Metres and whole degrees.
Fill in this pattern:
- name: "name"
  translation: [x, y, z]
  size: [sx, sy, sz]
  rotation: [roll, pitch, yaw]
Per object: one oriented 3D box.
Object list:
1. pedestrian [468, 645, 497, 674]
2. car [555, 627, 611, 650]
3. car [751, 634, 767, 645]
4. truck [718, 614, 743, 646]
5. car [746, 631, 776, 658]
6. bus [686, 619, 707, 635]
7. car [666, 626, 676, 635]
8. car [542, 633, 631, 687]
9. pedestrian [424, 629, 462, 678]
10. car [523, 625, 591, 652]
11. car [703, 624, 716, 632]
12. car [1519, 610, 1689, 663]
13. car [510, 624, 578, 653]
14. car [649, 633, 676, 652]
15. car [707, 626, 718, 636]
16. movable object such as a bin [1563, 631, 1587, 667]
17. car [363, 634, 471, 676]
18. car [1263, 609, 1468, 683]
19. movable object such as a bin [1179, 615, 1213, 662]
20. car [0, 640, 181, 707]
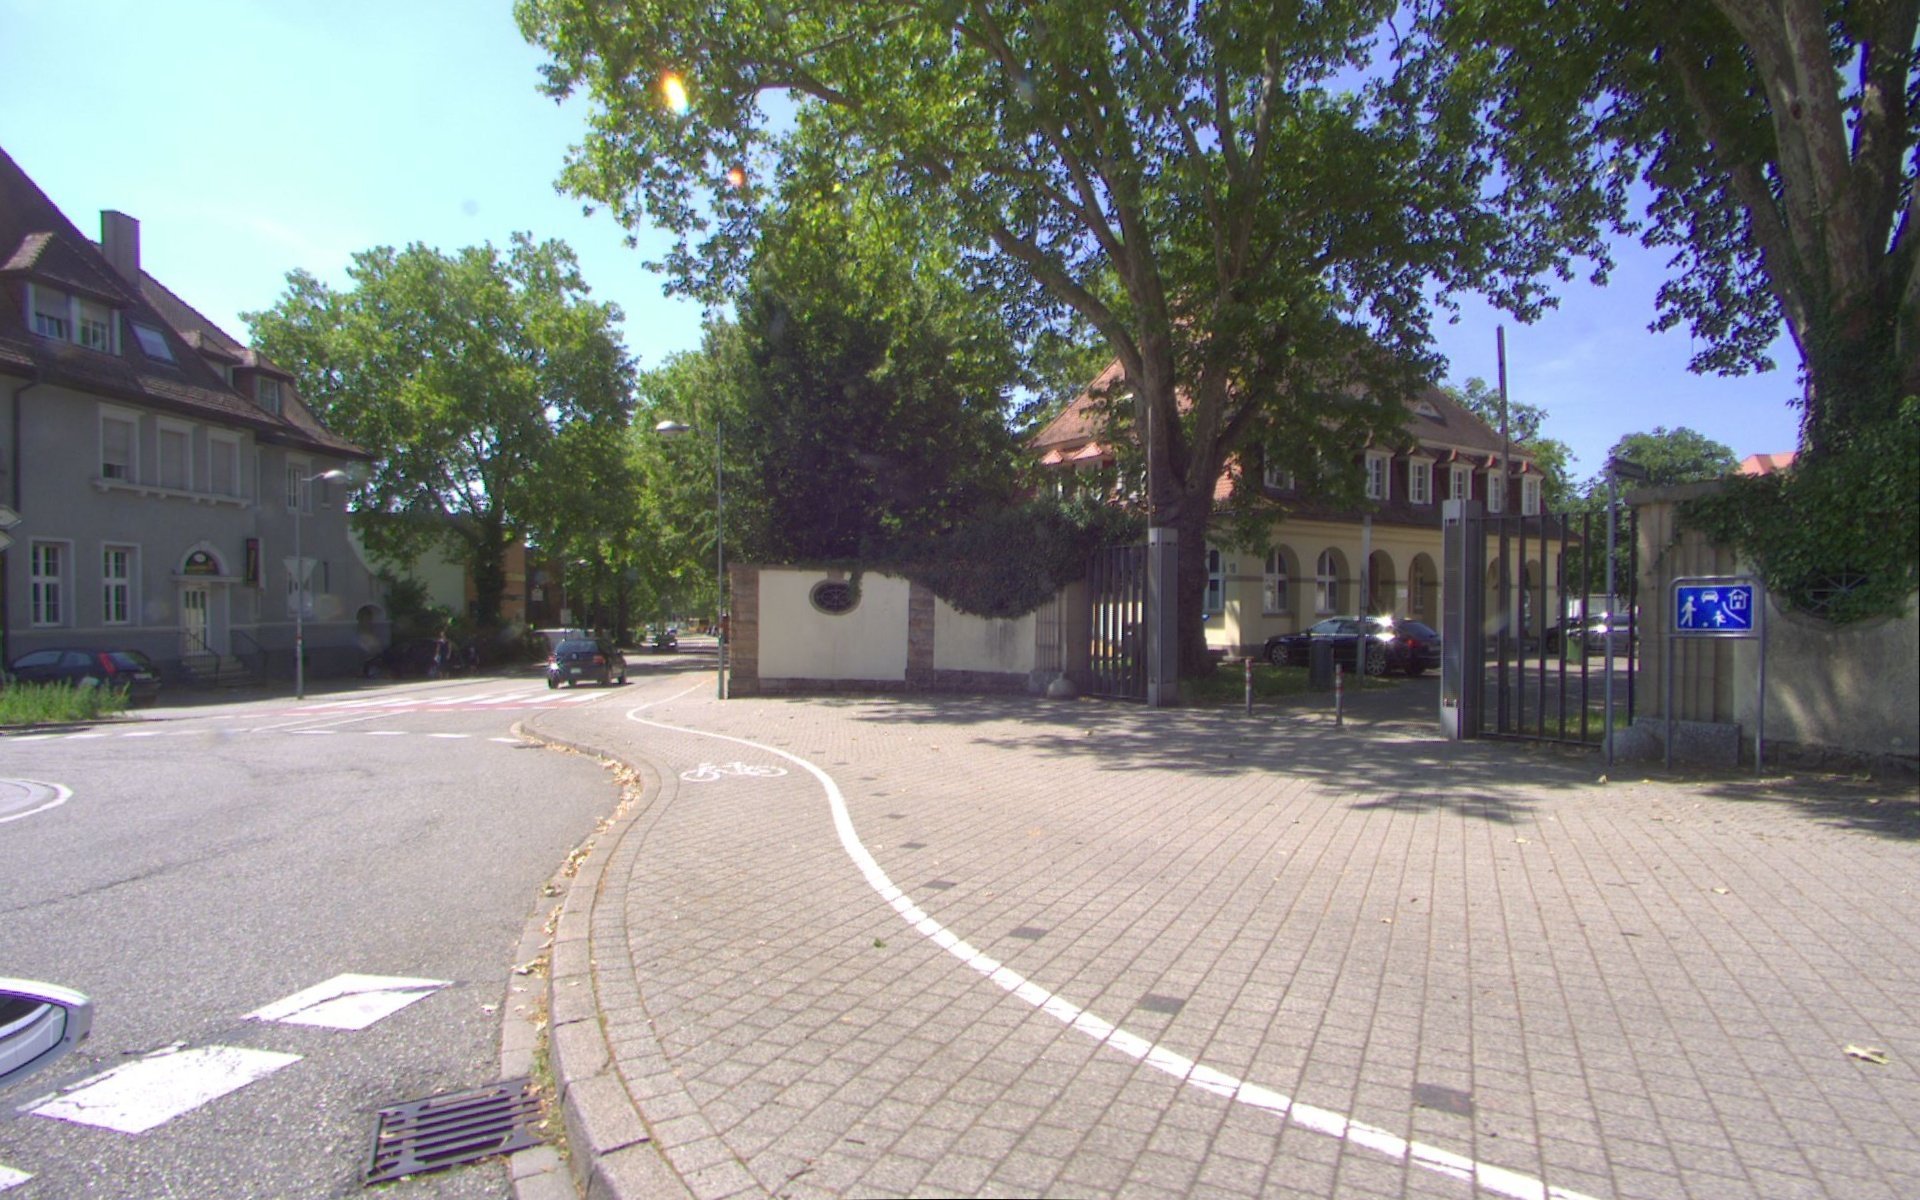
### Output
- name: "pedestrian"
  translation: [-19.170, 2.378, 40.202]
  size: [0.741, 1.136, 0.897]
  rotation: [-1, -1, -1]
- name: "car"
  translation: [-31.039, 3.190, 82.581]
  size: [4.066, 1.827, 1.902]
  rotation: [2, -2, -13]
- name: "car"
  translation: [-26.735, 5.202, 133.232]
  size: [1.740, 1.392, 3.725]
  rotation: [-1, -1, -15]
- name: "truck"
  translation: [-24.157, 3.212, 105.743]
  size: [2.333, 3.172, 5.769]
  rotation: [0, -3, -11]
- name: "car"
  translation: [-13.091, 2.891, 65.978]
  size: [1.713, 1.577, 4.777]
  rotation: [-2, -1, -9]
- name: "bus"
  translation: [-55.388, 5.662, 210.222]
  size: [2.628, 3.190, 11.166]
  rotation: [0, -2, -23]
- name: "car"
  translation: [-58.064, 6.060, 201.089]
  size: [1.965, 1.687, 3.996]
  rotation: [0, -3, -17]
- name: "car"
  translation: [-11.105, 1.753, 30.035]
  size: [1.684, 1.466, 4.057]
  rotation: [0, -1, -9]
- name: "pedestrian"
  translation: [-19.060, 1.945, 36.927]
  size: [0.858, 1.765, 1.112]
  rotation: [-1, -1, -4]
- name: "car"
  translation: [-29.907, 2.855, 74.399]
  size: [4.357, 1.827, 1.902]
  rotation: [2, -2, -13]
- name: "car"
  translation: [-46.947, 5.297, 187.841]
  size: [1.743, 1.392, 3.719]
  rotation: [-1, -1, -23]
- name: "car"
  translation: [22.089, 1.201, 34.510]
  size: [1.974, 1.422, 4.469]
  rotation: [0, 3, -34]
- name: "car"
  translation: [-28.042, 2.608, 67.671]
  size: [3.927, 1.815, 1.867]
  rotation: [2, -2, -13]
- name: "car"
  translation: [-23.561, 3.386, 79.412]
  size: [1.742, 1.444, 4.389]
  rotation: [-1, -2, -14]
- name: "car"
  translation: [-43.683, 5.535, 176.784]
  size: [1.851, 1.706, 3.997]
  rotation: [0, -3, -15]
- name: "movable object such as a bin"
  translation: [18.121, 1.441, 29.529]
  size: [0.529, 1.021, 0.526]
  rotation: [-1, -1, 25]
- name: "car"
  translation: [-21.290, 2.152, 39.341]
  size: [3.326, 1.566, 1.725]
  rotation: [-1, -1, 0]
- name: "car"
  translation: [10.220, 1.088, 25.580]
  size: [1.974, 1.422, 4.469]
  rotation: [0, 3, -34]
- name: "movable object such as a bin"
  translation: [6.731, 1.101, 28.531]
  size: [0.661, 1.313, 0.672]
  rotation: [0, -1, -43]
- name: "car"
  translation: [-20.840, 1.704, 23.542]
  size: [3.719, 1.479, 1.725]
  rotation: [-1, -1, 0]
